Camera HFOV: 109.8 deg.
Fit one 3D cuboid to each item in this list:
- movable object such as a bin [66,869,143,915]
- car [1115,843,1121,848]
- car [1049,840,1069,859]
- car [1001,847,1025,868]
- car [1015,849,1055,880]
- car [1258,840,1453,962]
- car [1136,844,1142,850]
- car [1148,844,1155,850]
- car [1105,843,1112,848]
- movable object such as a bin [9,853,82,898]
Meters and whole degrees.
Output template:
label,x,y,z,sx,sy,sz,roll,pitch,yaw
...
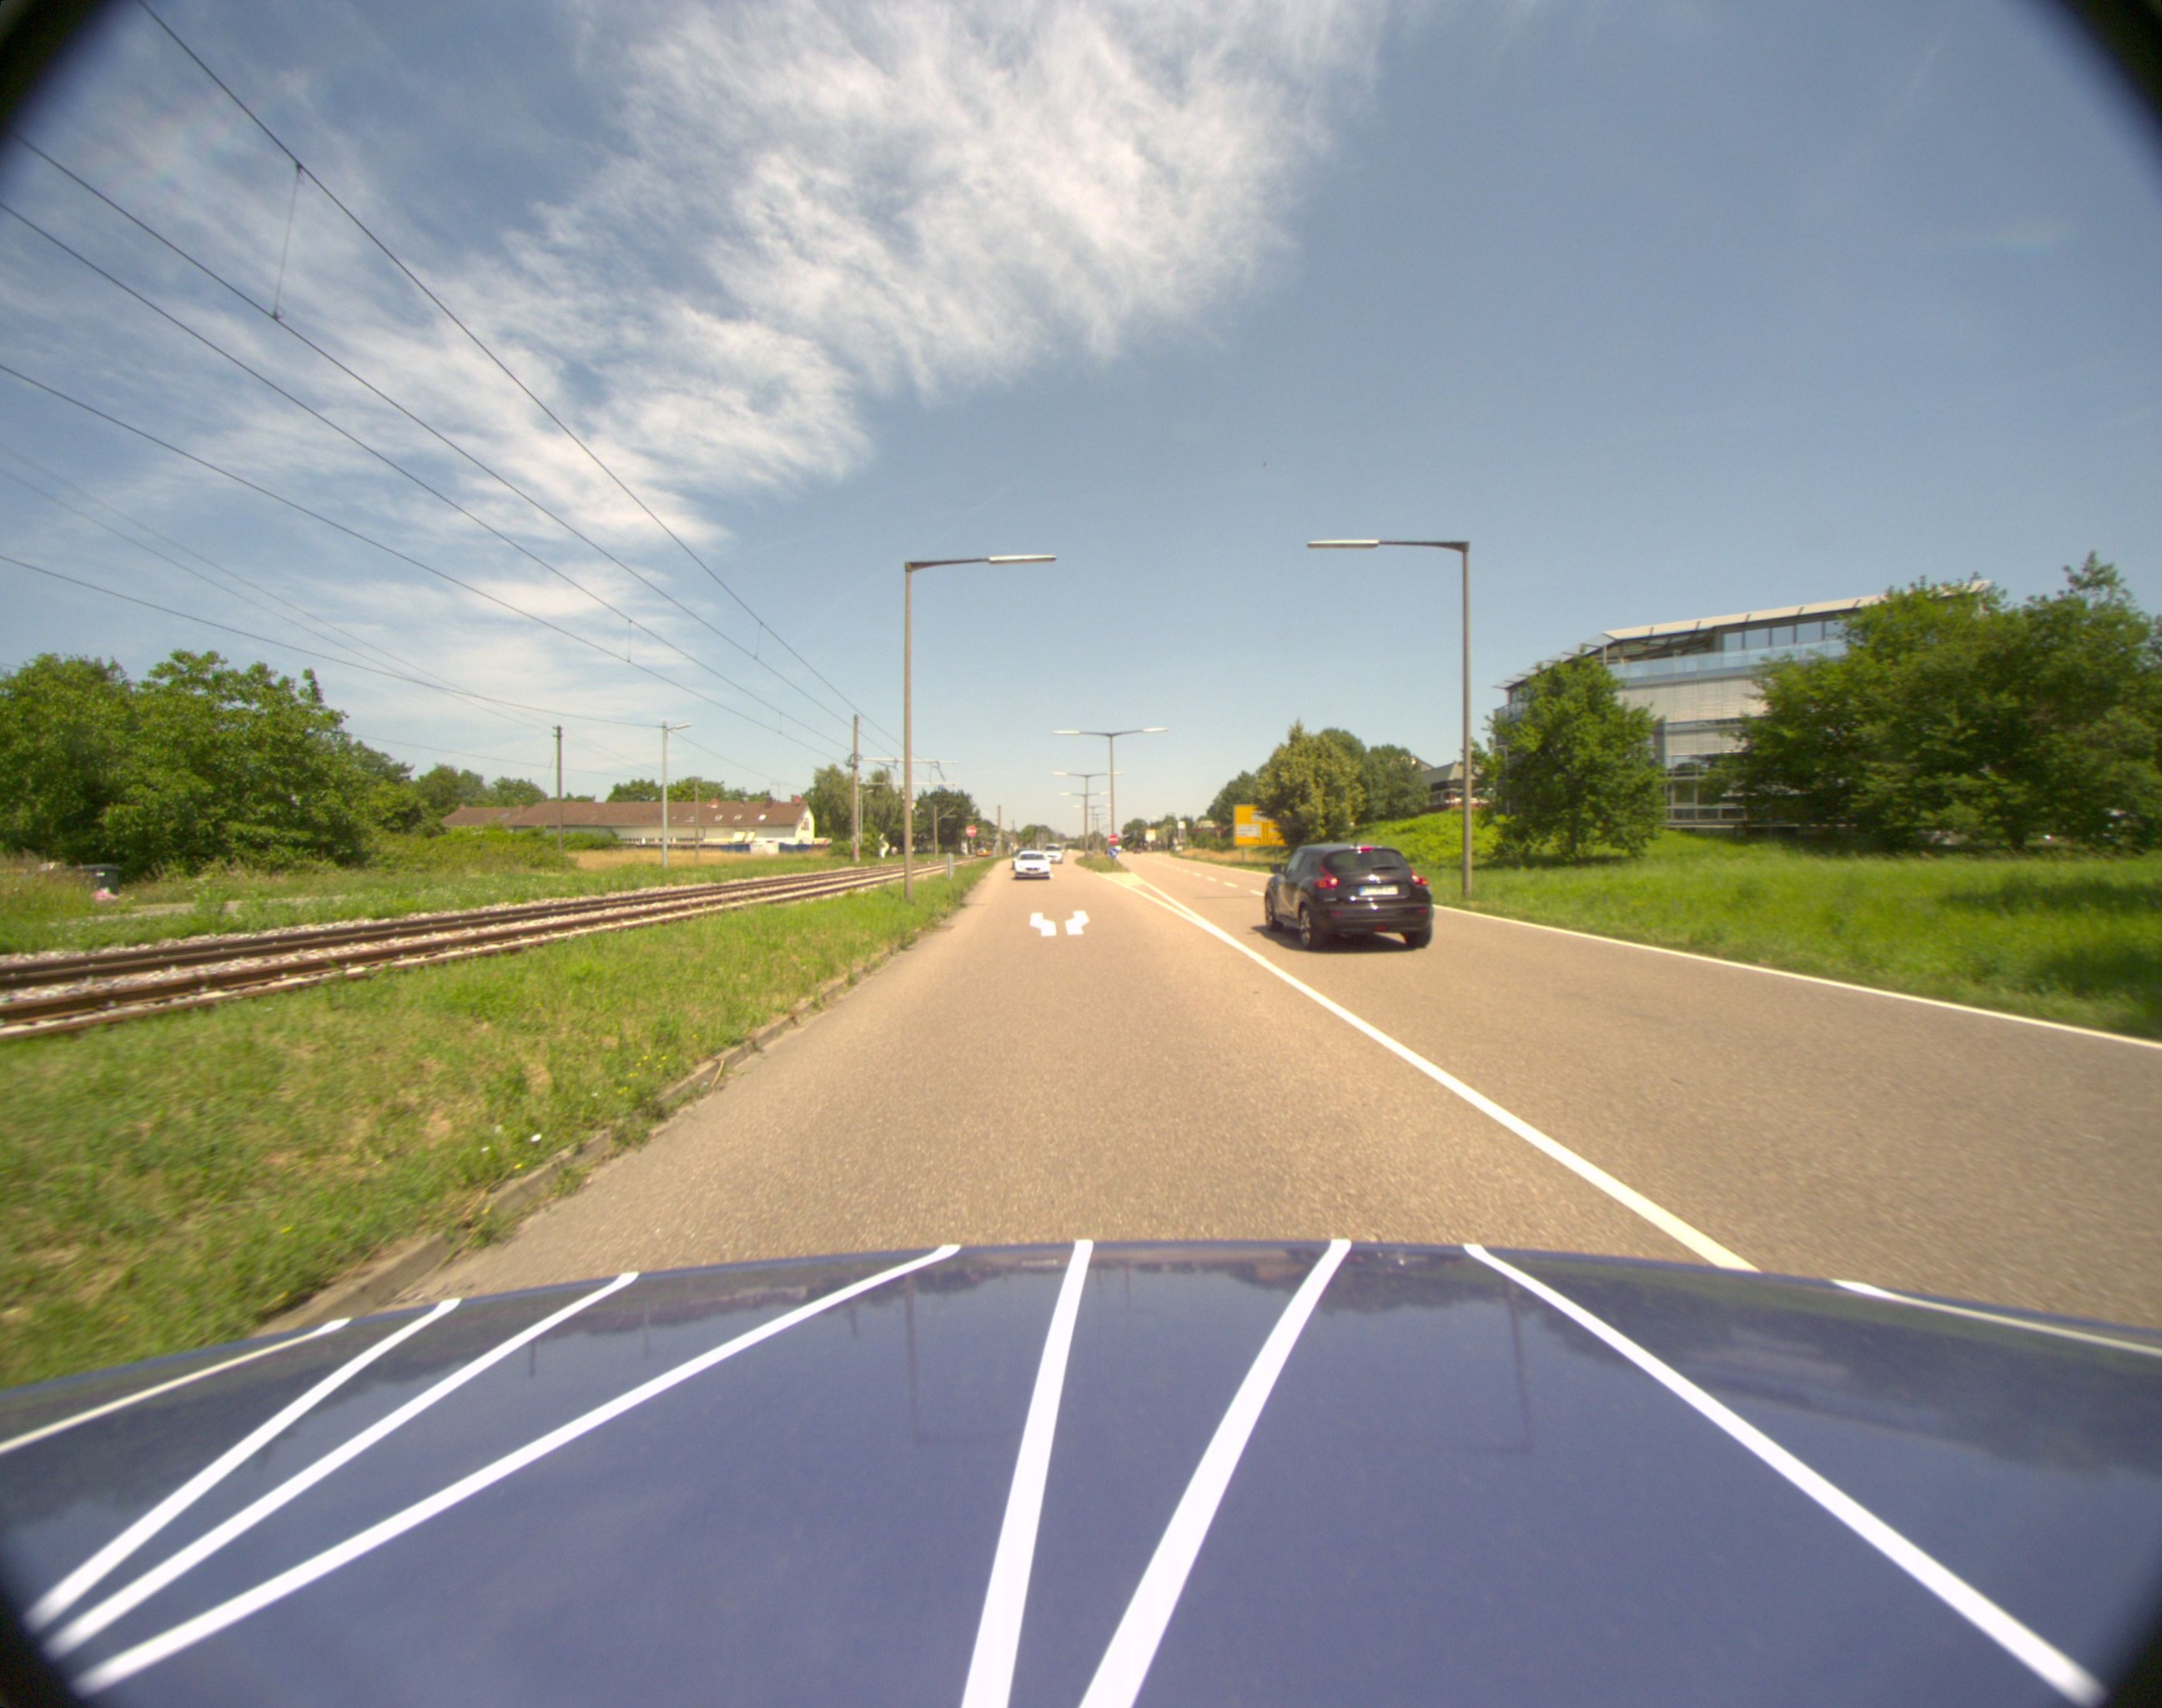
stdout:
label,x,y,z,sx,sy,sz,roll,pitch,yaw
movable object such as a bin,-21.085,0.809,16.419,0.801,0.929,0.781,0,2,20
car,12.075,-2.719,249.540,1.619,1.387,3.599,-1,2,-2
car,-2.147,-0.447,73.881,1.883,1.687,3.786,-1,2,-1
car,-4.918,0.211,55.230,1.510,1.423,3.357,-1,2,-1
car,-2.351,0.494,39.593,1.771,1.434,4.128,-1,2,1
car,4.118,0.594,12.150,1.826,1.563,4.111,0,2,3
car,15.017,-1.791,196.580,1.621,1.346,3.515,0,2,4
car,19.277,-1.905,207.483,1.653,1.577,3.818,-1,2,0
car,7.043,-2.179,196.975,1.619,1.387,3.599,-1,2,-2
movable object such as a bin,-22.360,0.454,16.412,0.447,0.929,0.804,0,2,20
